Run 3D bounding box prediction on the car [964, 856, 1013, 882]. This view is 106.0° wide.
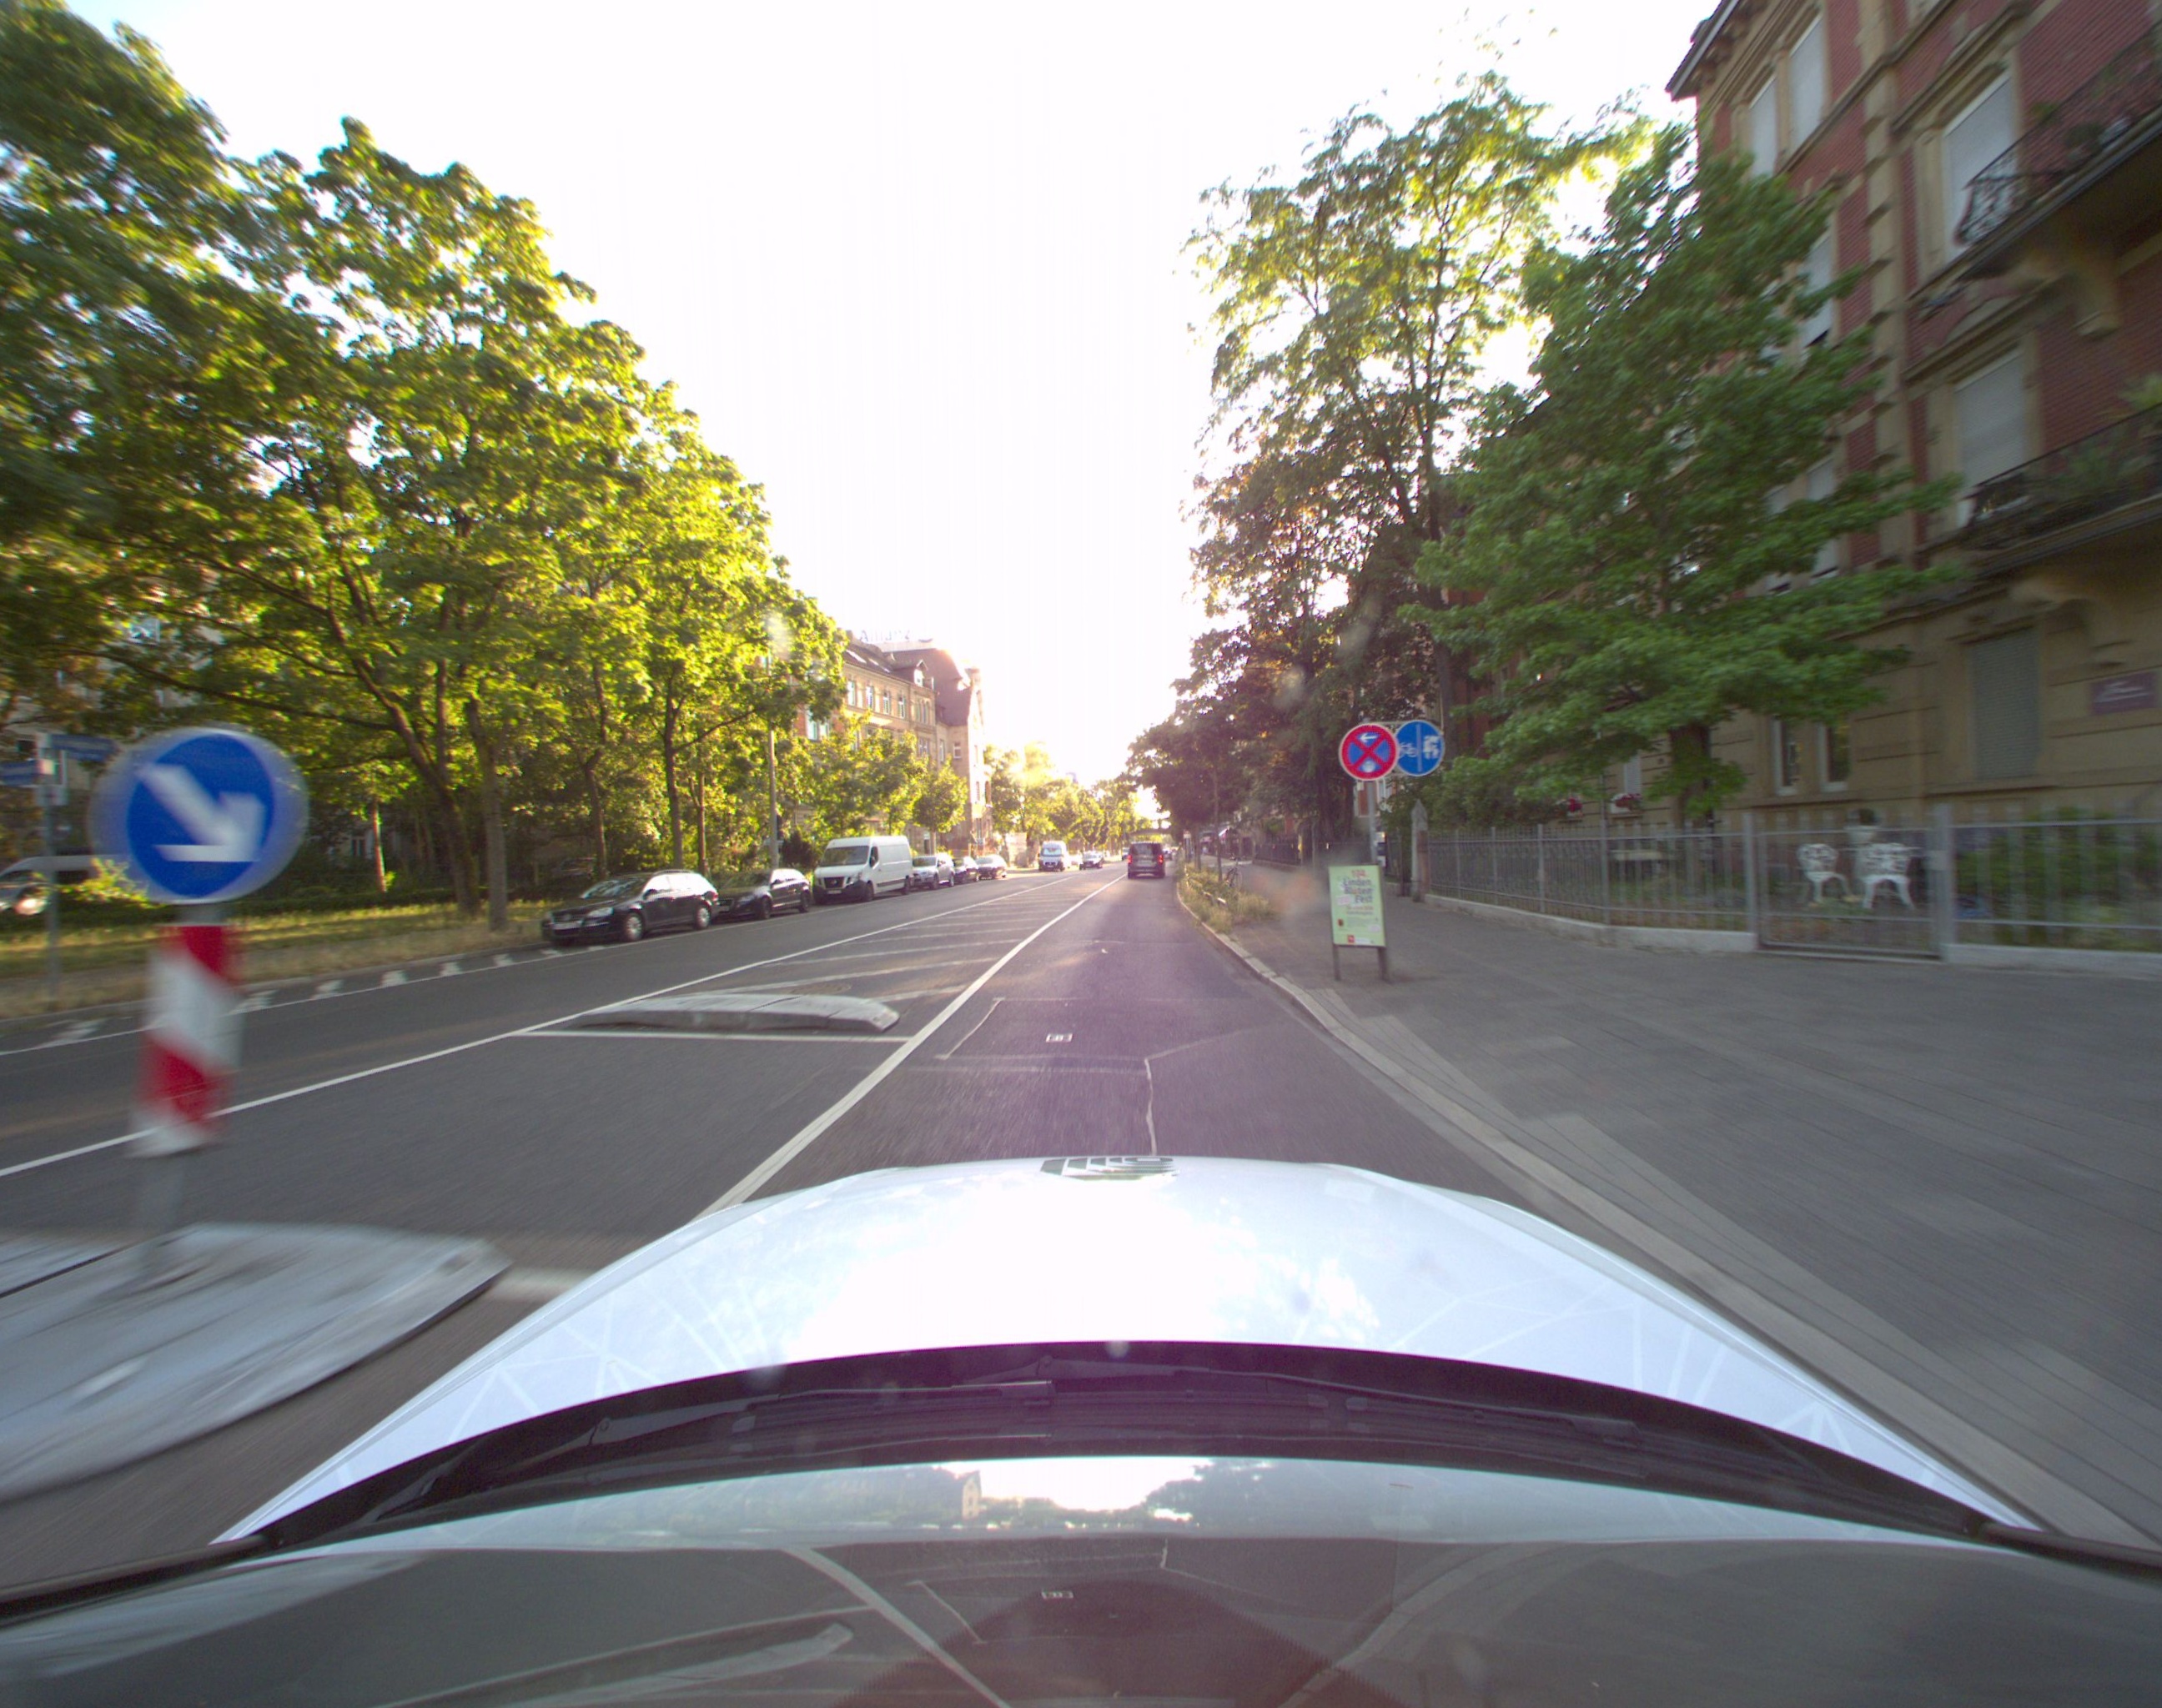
[{"bbox_3d":[-5.731,0.890,50.999,1.983,1.483,4.838,-2,0,6],"label":"car"}]

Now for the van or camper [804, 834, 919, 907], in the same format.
[{"bbox_3d":[-8.348,0.558,31.800,2.080,2.468,6.316,-3,0,6],"label":"van or camper"}]

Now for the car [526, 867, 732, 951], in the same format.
[{"bbox_3d":[-9.898,1.121,18.316,1.615,1.506,4.553,-3,0,7],"label":"car"}]

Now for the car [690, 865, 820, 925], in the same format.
[{"bbox_3d":[-9.288,1.121,23.609,1.620,1.429,4.249,-3,0,6],"label":"car"}]

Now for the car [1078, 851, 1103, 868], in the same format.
[{"bbox_3d":[0.900,0.492,73.878,1.757,1.402,4.553,-2,0,6],"label":"car"}]

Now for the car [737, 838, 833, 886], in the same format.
[{"bbox_3d":[-18.374,0.442,50.800,2.099,2.739,5.344,-3,0,31],"label":"car"}]

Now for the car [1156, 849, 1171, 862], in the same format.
[{"bbox_3d":[11.185,0.231,110.375,1.984,1.634,4.006,-2,0,5],"label":"car"}]

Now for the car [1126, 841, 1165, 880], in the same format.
[{"bbox_3d":[3.472,0.310,43.264,1.878,1.925,3.846,-3,0,6],"label":"car"}]

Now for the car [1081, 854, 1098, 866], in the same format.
[{"bbox_3d":[1.043,0.732,100.946,1.688,1.451,4.007,0,0,6],"label":"car"}]

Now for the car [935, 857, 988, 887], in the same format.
[{"bbox_3d":[-6.519,0.948,44.836,1.727,1.445,4.633,-2,0,6],"label":"car"}]

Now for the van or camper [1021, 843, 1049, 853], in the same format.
[{"bbox_3d":[-11.560,-1.499,204.498,6.532,2.522,2.453,0,0,5],"label":"van or camper"}]

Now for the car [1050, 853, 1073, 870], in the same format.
[{"bbox_3d":[-1.840,0.703,78.610,1.737,1.534,4.309,0,0,6],"label":"car"}]

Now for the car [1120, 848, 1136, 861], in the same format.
[{"bbox_3d":[7.399,0.096,127.395,1.983,1.831,5.180,-3,0,7],"label":"car"}]

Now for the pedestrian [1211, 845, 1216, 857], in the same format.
[{"bbox_3d":[18.296,-0.393,112.401,0.641,1.633,0.657,0,0,7],"label":"pedestrian"}]

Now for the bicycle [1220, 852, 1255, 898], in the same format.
[{"bbox_3d":[4.140,0.530,21.698,0.643,1.167,1.932,0,0,3],"label":"bicycle"}]

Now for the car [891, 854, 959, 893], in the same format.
[{"bbox_3d":[-7.364,0.868,38.973,1.856,1.645,4.579,-3,0,6],"label":"car"}]

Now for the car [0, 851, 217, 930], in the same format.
[{"bbox_3d":[-34.821,1.223,29.080,2.244,2.485,5.267,-2,0,40],"label":"car"}]

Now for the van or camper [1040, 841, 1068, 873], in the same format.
[{"bbox_3d":[-2.322,0.262,71.385,1.985,2.668,6.042,0,0,3],"label":"van or camper"}]

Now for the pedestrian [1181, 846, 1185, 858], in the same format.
[{"bbox_3d":[16.673,-0.324,133.350,0.504,1.888,0.544,0,0,-8],"label":"pedestrian"}]

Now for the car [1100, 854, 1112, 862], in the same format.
[{"bbox_3d":[4.672,0.771,152.028,1.983,1.414,4.245,0,0,7],"label":"car"}]

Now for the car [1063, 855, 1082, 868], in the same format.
[{"bbox_3d":[-0.866,0.772,85.632,1.528,1.248,3.620,0,0,6],"label":"car"}]
